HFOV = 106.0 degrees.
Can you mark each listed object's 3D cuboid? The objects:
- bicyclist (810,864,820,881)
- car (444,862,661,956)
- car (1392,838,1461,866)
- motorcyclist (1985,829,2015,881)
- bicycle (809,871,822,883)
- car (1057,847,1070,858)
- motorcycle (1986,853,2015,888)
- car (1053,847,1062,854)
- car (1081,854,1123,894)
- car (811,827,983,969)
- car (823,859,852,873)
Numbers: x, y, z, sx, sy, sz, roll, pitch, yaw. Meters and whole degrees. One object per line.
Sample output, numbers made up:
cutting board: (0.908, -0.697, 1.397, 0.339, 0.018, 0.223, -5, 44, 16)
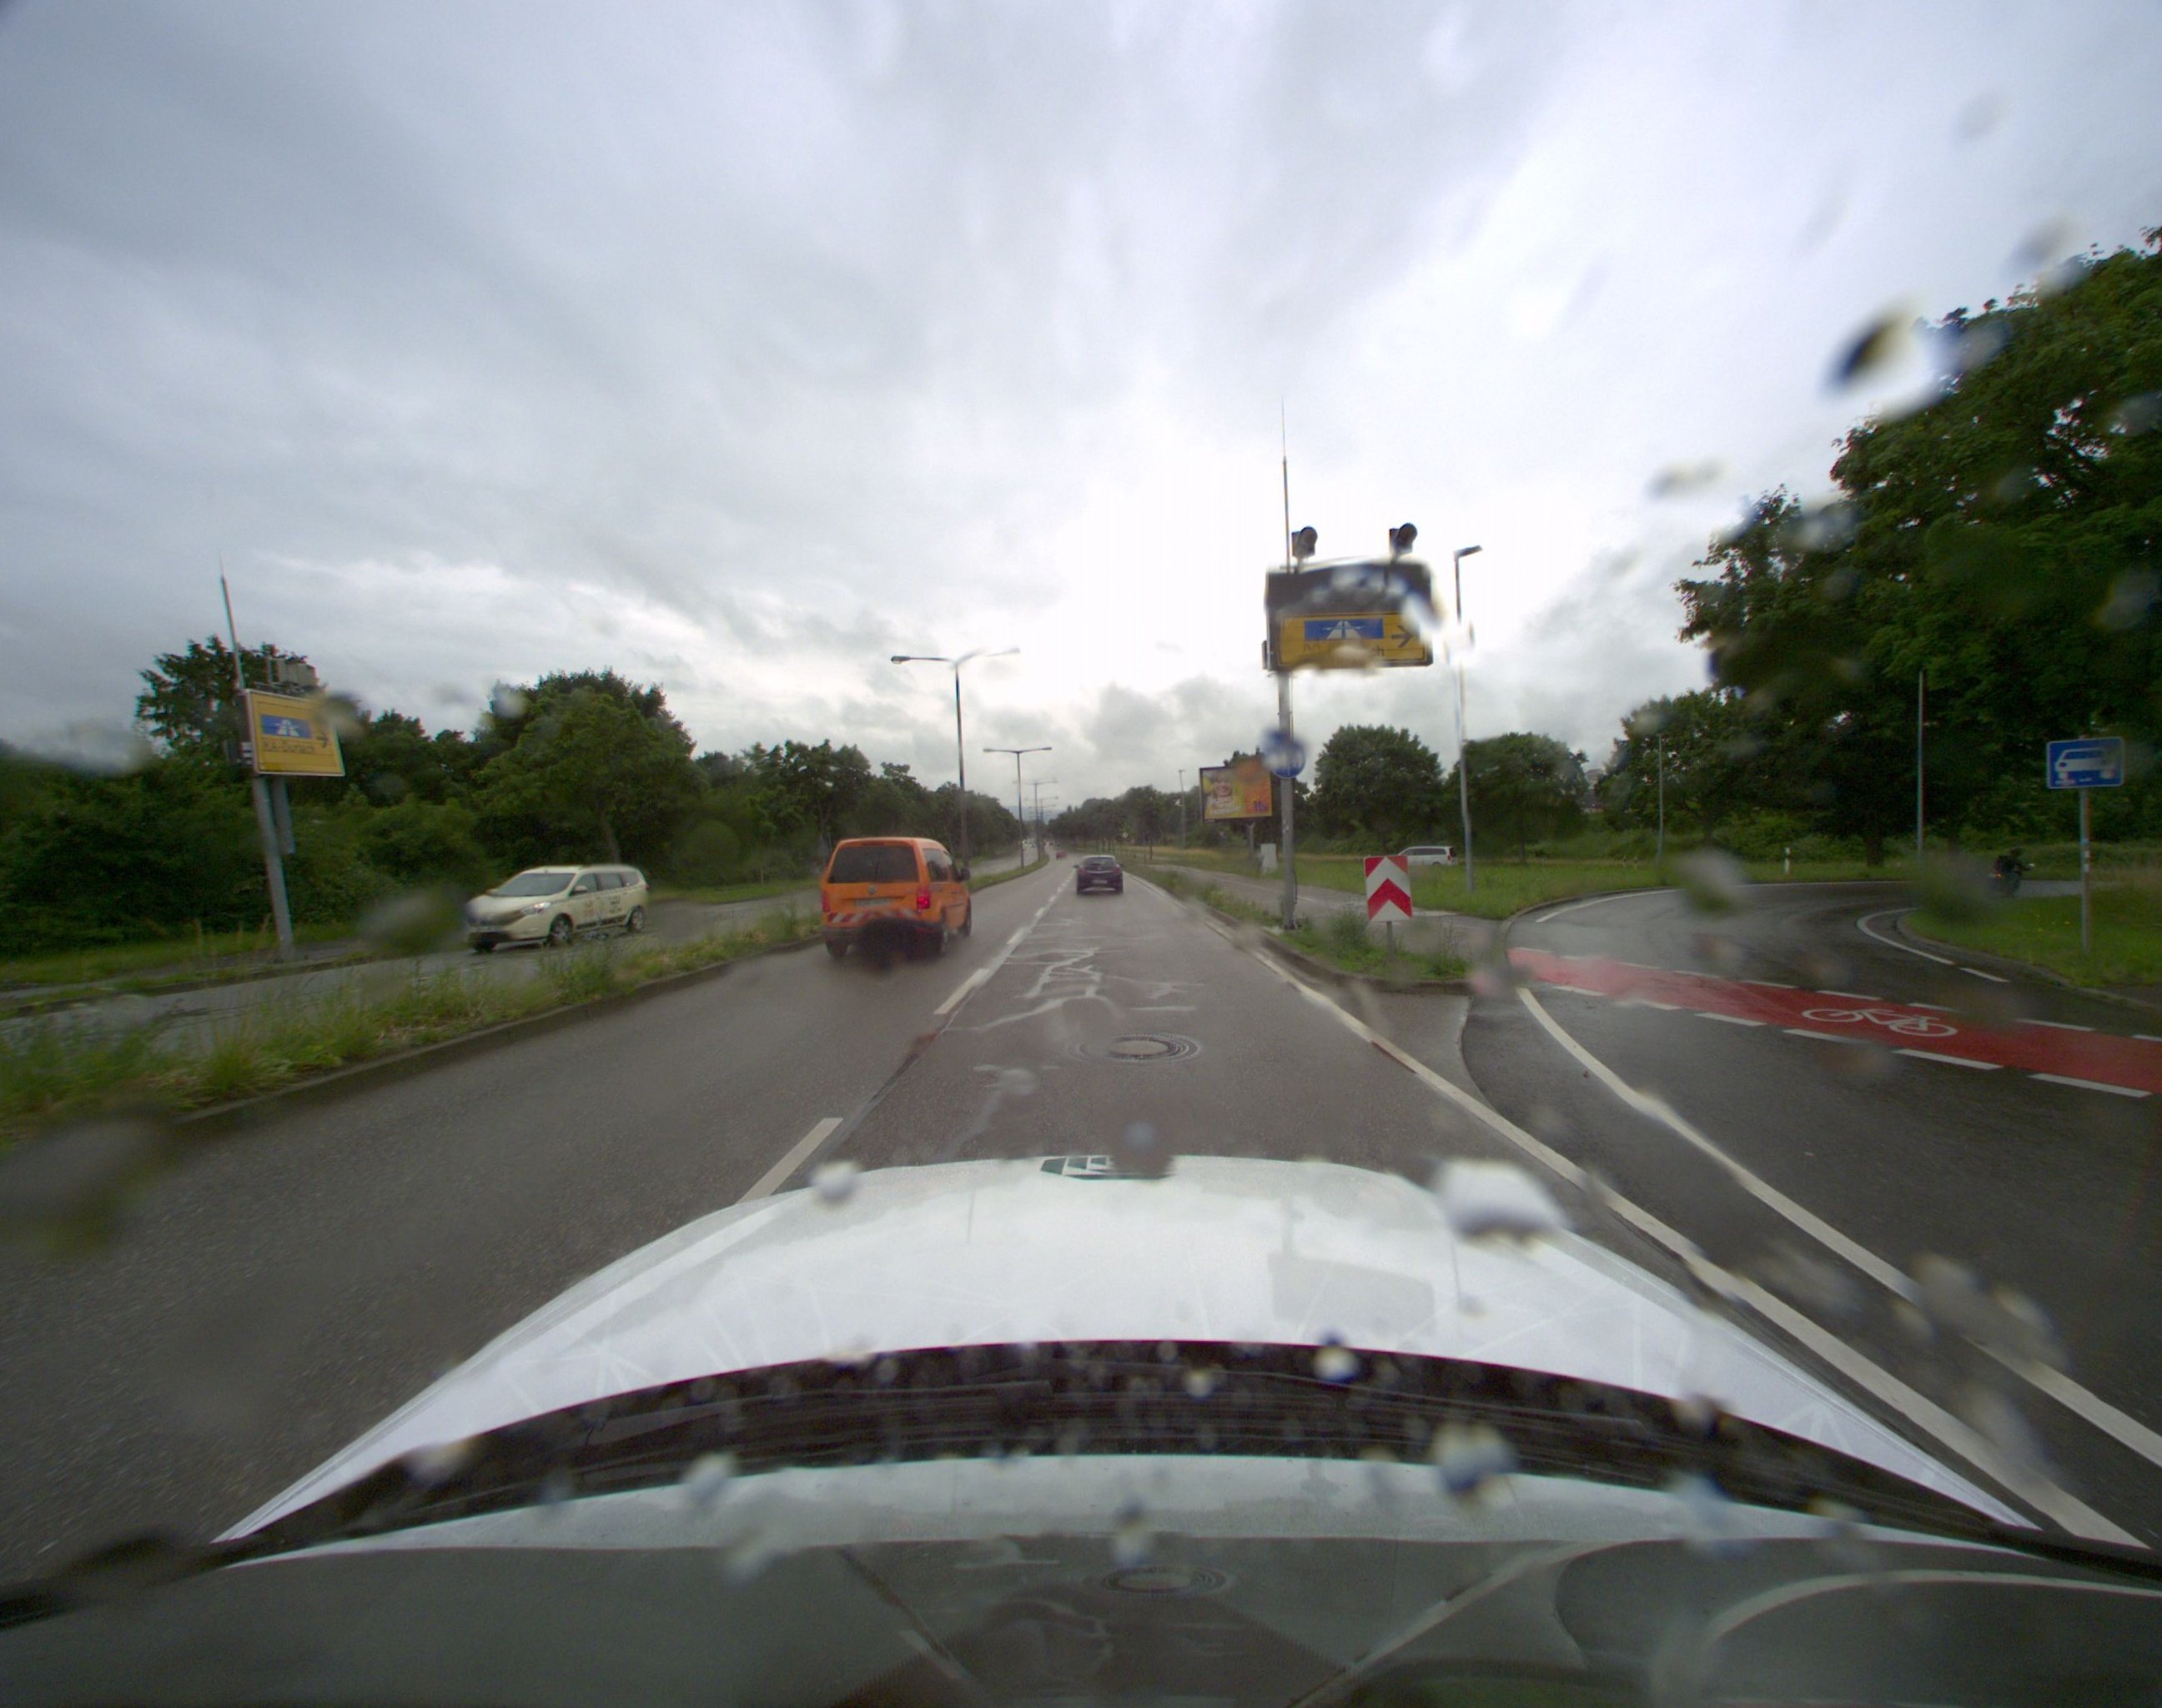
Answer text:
bicyclist: (-21.638, 1.508, 66.347, 0.520, 1.303, 0.808, -1, 0, 1)
car: (-11.393, 1.082, 18.015, 1.701, 1.629, 4.492, -4, 0, 1)
car: (26.482, -0.144, 62.464, 4.549, 1.974, 2.079, -1, 0, 36)
motorcyclist: (30.385, 0.033, 26.934, 0.865, 1.690, 0.596, -2, 0, -42)
bicycle: (-21.633, 1.885, 66.341, 0.520, 0.886, 1.634, -1, 0, 1)
car: (-2.934, -0.236, 137.023, 1.987, 1.879, 4.000, -1, 0, 1)
motorcycle: (30.417, 0.530, 26.950, 1.741, 1.093, 0.596, -2, 0, -42)
car: (-7.484, -1.002, 258.511, 2.510, 2.052, 5.288, -2, 0, -3)
car: (0.768, 0.707, 30.717, 1.458, 1.328, 3.758, -1, 1, 1)
car: (-2.903, 0.622, 13.987, 1.728, 2.019, 4.851, 0, 0, 2)
car: (-37.945, 1.899, 127.195, 3.983, 2.013, 1.995, -2, 1, -7)
